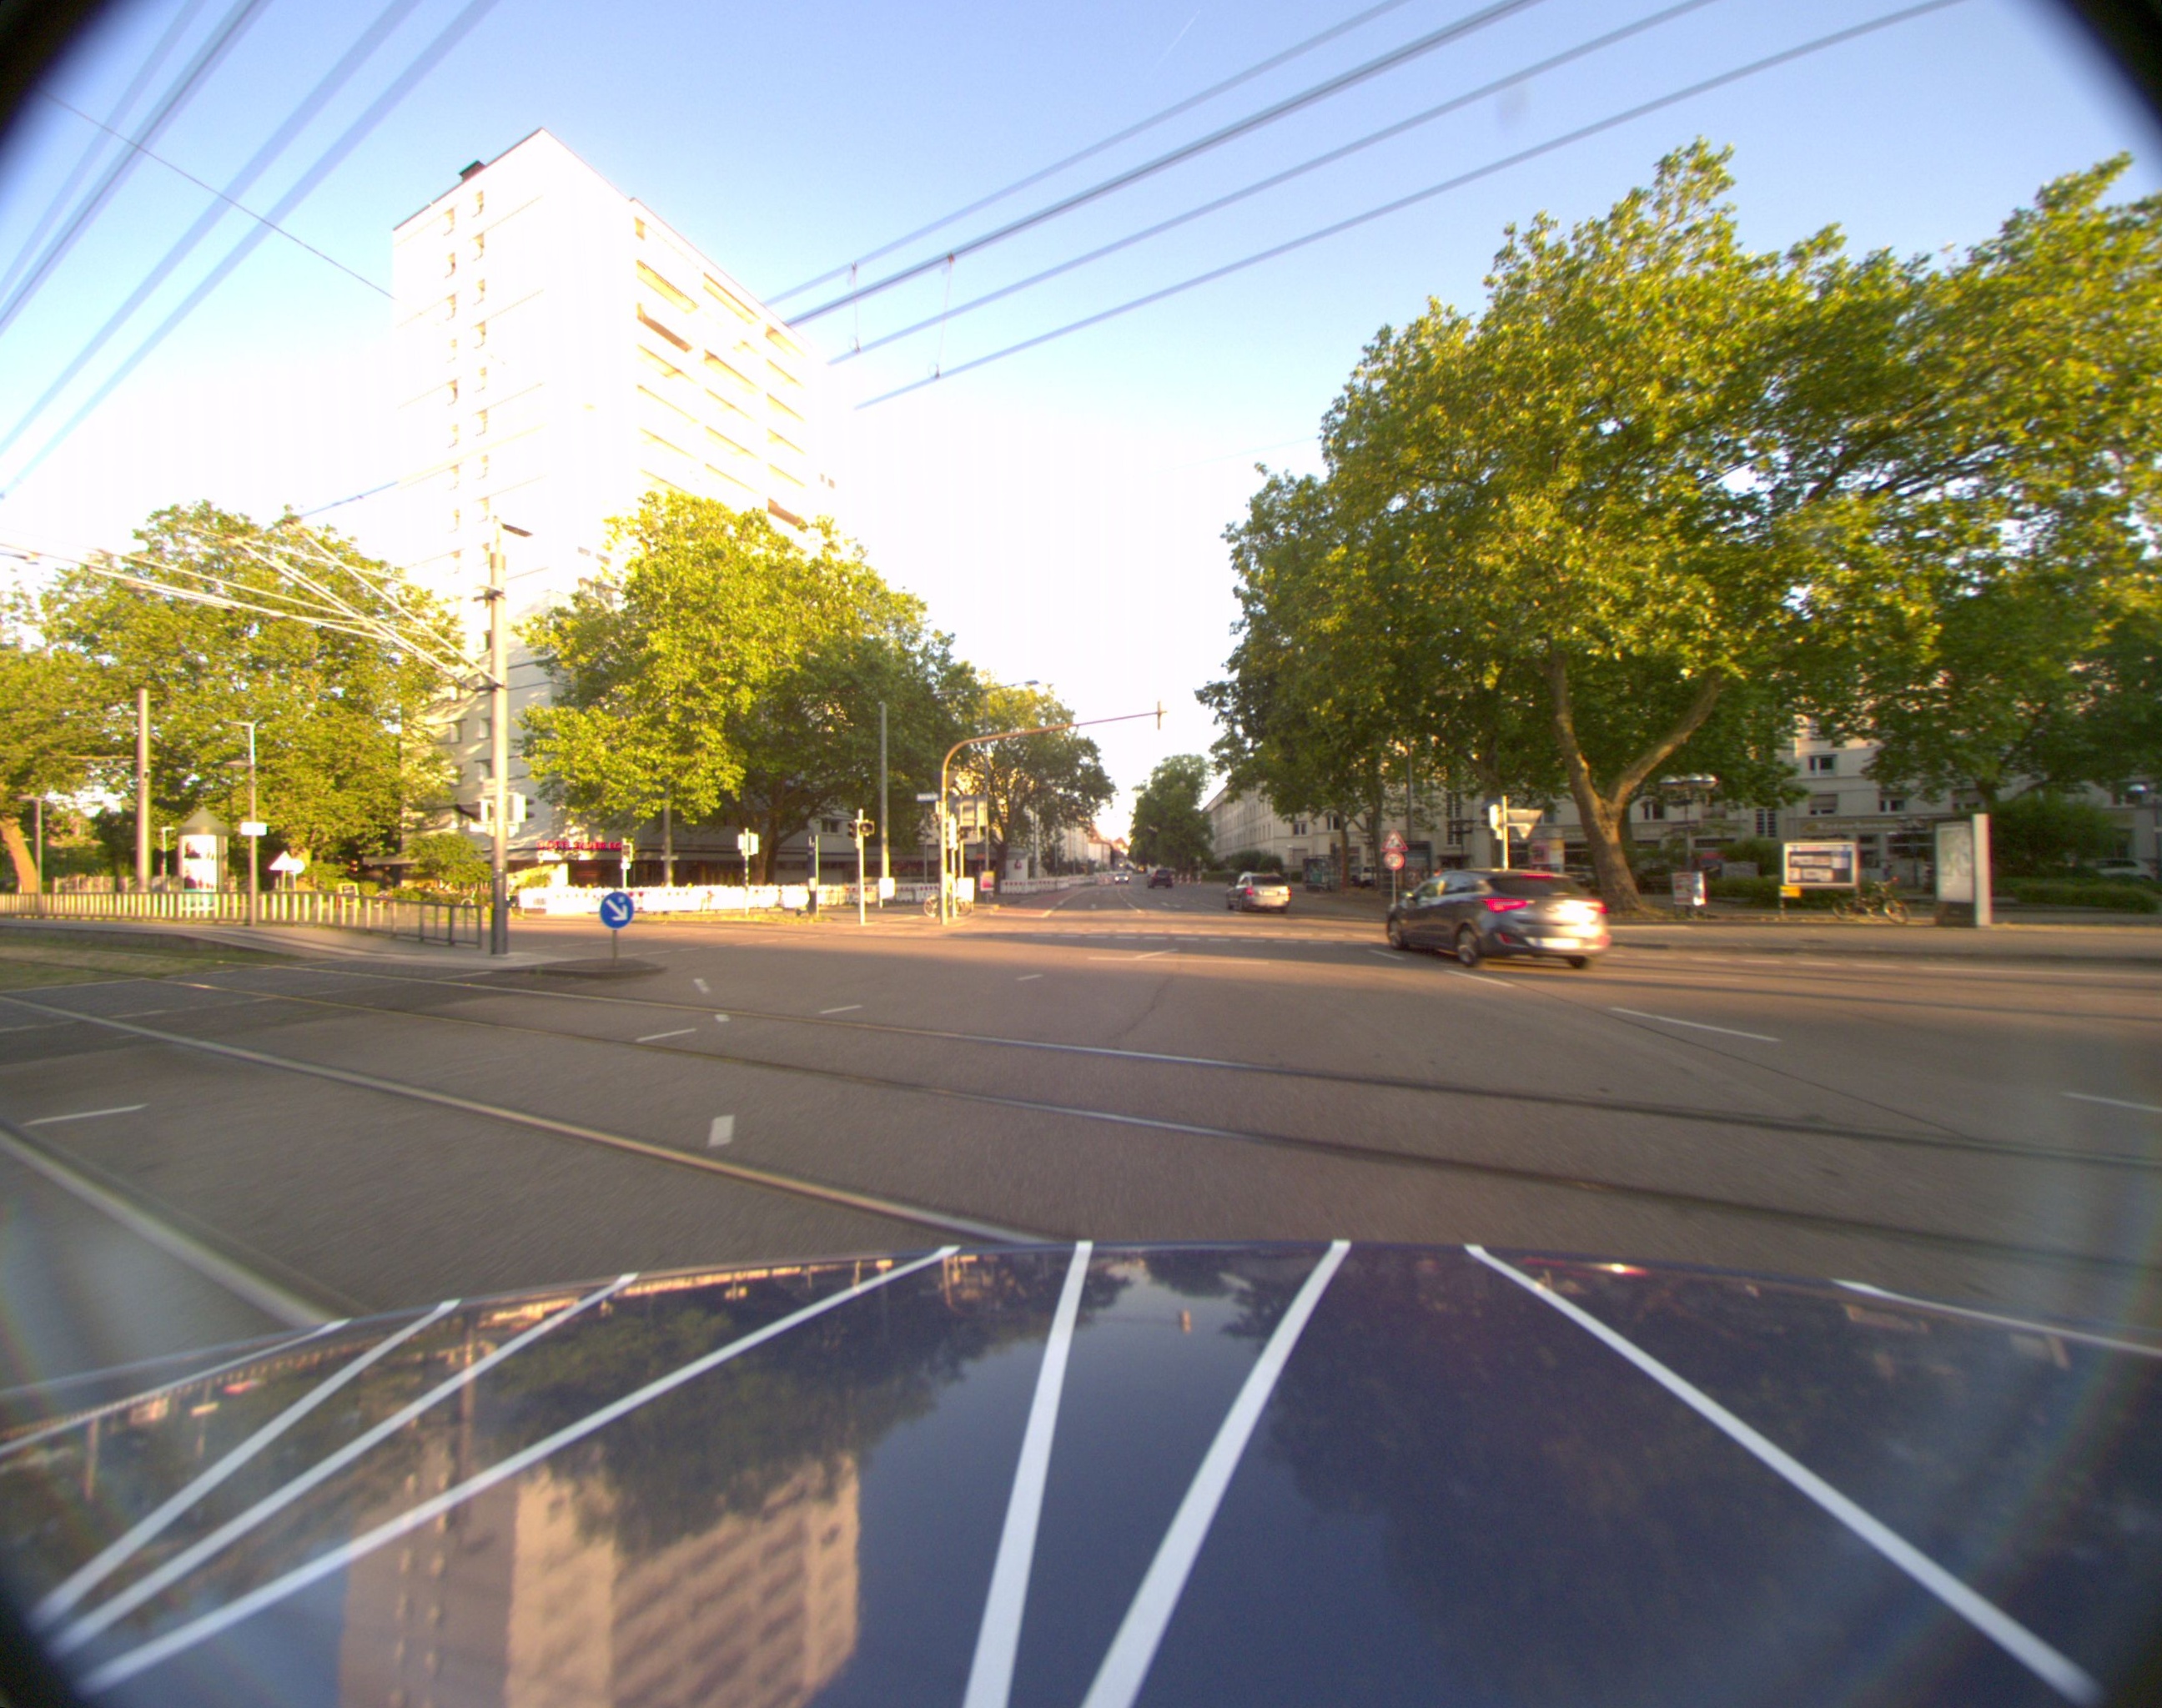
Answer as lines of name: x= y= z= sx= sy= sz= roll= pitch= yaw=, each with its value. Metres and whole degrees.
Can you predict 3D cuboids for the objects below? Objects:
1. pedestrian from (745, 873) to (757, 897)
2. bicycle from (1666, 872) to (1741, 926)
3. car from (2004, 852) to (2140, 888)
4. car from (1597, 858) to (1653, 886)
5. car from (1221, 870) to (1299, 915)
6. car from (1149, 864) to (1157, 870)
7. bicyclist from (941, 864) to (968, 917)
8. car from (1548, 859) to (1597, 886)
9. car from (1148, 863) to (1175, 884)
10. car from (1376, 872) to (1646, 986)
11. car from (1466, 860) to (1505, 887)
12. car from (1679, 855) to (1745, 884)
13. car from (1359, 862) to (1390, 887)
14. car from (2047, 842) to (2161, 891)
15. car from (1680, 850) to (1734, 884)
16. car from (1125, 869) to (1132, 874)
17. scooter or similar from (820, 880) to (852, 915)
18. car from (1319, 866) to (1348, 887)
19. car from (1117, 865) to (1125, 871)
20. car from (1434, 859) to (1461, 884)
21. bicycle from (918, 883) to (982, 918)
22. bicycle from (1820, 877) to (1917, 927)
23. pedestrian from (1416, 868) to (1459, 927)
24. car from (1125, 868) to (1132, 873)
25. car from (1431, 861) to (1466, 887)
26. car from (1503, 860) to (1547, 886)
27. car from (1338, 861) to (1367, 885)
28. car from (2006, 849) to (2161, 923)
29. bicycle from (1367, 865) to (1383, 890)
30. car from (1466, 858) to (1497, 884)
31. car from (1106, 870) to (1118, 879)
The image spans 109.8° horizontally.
pedestrian: x=-22.655 y=2.123 z=52.209 sx=0.642 sy=1.579 sz=0.745 roll=-2 pitch=0 yaw=-30
bicycle: x=16.688 y=1.172 z=20.431 sx=0.526 sy=1.318 sz=1.995 roll=-2 pitch=0 yaw=7
car: x=49.167 y=0.815 z=37.799 sx=3.752 sy=1.652 sz=1.677 roll=-2 pitch=0 yaw=28
car: x=36.088 y=1.204 z=50.519 sx=1.995 sy=1.770 sz=4.650 roll=0 pitch=-2 yaw=22
car: x=6.749 y=1.418 z=29.172 sx=1.998 sy=1.548 sz=4.770 roll=0 pitch=-1 yaw=2
car: x=20.092 y=3.534 z=211.722 sx=1.892 sy=1.591 sz=4.262 roll=-2 pitch=0 yaw=7
bicyclist: x=-4.460 y=1.264 z=26.834 sx=0.700 sy=1.813 sz=0.627 roll=-2 pitch=0 yaw=-30
car: x=33.263 y=1.295 z=51.588 sx=1.995 sy=1.770 sz=4.650 roll=0 pitch=-2 yaw=22
car: x=7.368 y=1.806 z=69.991 sx=1.998 sy=1.773 sz=4.799 roll=-3 pitch=-1 yaw=1
car: x=6.467 y=1.032 z=12.081 sx=1.998 sy=1.468 sz=4.140 roll=0 pitch=-1 yaw=1
car: x=28.593 y=1.412 z=53.842 sx=1.995 sy=1.770 sz=4.650 roll=0 pitch=-2 yaw=22
car: x=40.410 y=1.022 z=48.786 sx=1.995 sy=1.770 sz=4.650 roll=0 pitch=-2 yaw=22
car: x=21.878 y=1.539 z=56.568 sx=1.995 sy=1.770 sz=4.650 roll=0 pitch=-2 yaw=22
car: x=40.003 y=0.491 z=28.330 sx=4.490 sy=1.770 sz=2.004 roll=0 pitch=-2 yaw=22
car: x=47.444 y=0.953 z=57.701 sx=1.995 sy=2.428 sz=4.648 roll=0 pitch=1 yaw=25
car: x=14.894 y=5.560 z=240.270 sx=1.892 sy=1.591 sz=4.262 roll=-2 pitch=0 yaw=7
scooter or similar: x=-9.027 y=1.596 z=27.964 sx=1.231 sy=1.242 sz=0.516 roll=-2 pitch=0 yaw=42
car: x=19.328 y=1.738 z=58.300 sx=1.996 sy=1.494 sz=4.648 roll=0 pitch=-2 yaw=16
car: x=10.658 y=3.729 z=201.675 sx=1.892 sy=1.591 sz=4.262 roll=-2 pitch=0 yaw=7
car: x=30.944 y=1.422 z=64.219 sx=1.995 sy=1.944 sz=4.648 roll=0 pitch=1 yaw=25
bicycle: x=-4.606 y=1.618 z=26.748 sx=2.075 sy=1.103 sz=0.627 roll=-2 pitch=0 yaw=-30
bicycle: x=18.925 y=1.121 z=18.316 sx=0.459 sy=1.086 sz=1.799 roll=-2 pitch=0 yaw=0
pedestrian: x=10.119 y=1.213 z=21.574 sx=0.804 sy=1.618 sz=0.773 roll=-2 pitch=0 yaw=-3
car: x=15.644 y=5.513 z=249.493 sx=1.892 sy=1.591 sz=4.262 roll=-2 pitch=0 yaw=7
car: x=26.426 y=1.467 z=54.768 sx=1.995 sy=1.770 sz=4.650 roll=0 pitch=-2 yaw=22
car: x=30.805 y=1.353 z=52.862 sx=1.995 sy=1.770 sz=4.650 roll=0 pitch=-2 yaw=22
car: x=24.000 y=1.620 z=67.092 sx=1.995 sy=1.944 sz=4.648 roll=0 pitch=1 yaw=25
car: x=27.321 y=0.857 z=20.057 sx=1.995 sy=1.770 sz=4.651 roll=0 pitch=-2 yaw=27
bicycle: x=20.217 y=1.595 z=52.210 sx=0.690 sy=1.605 sz=2.750 roll=-2 pitch=0 yaw=27
car: x=33.197 y=1.343 z=63.054 sx=1.995 sy=1.944 sz=4.648 roll=0 pitch=1 yaw=25
car: x=5.940 y=3.931 z=144.974 sx=1.892 sy=1.591 sz=4.262 roll=-2 pitch=0 yaw=7
